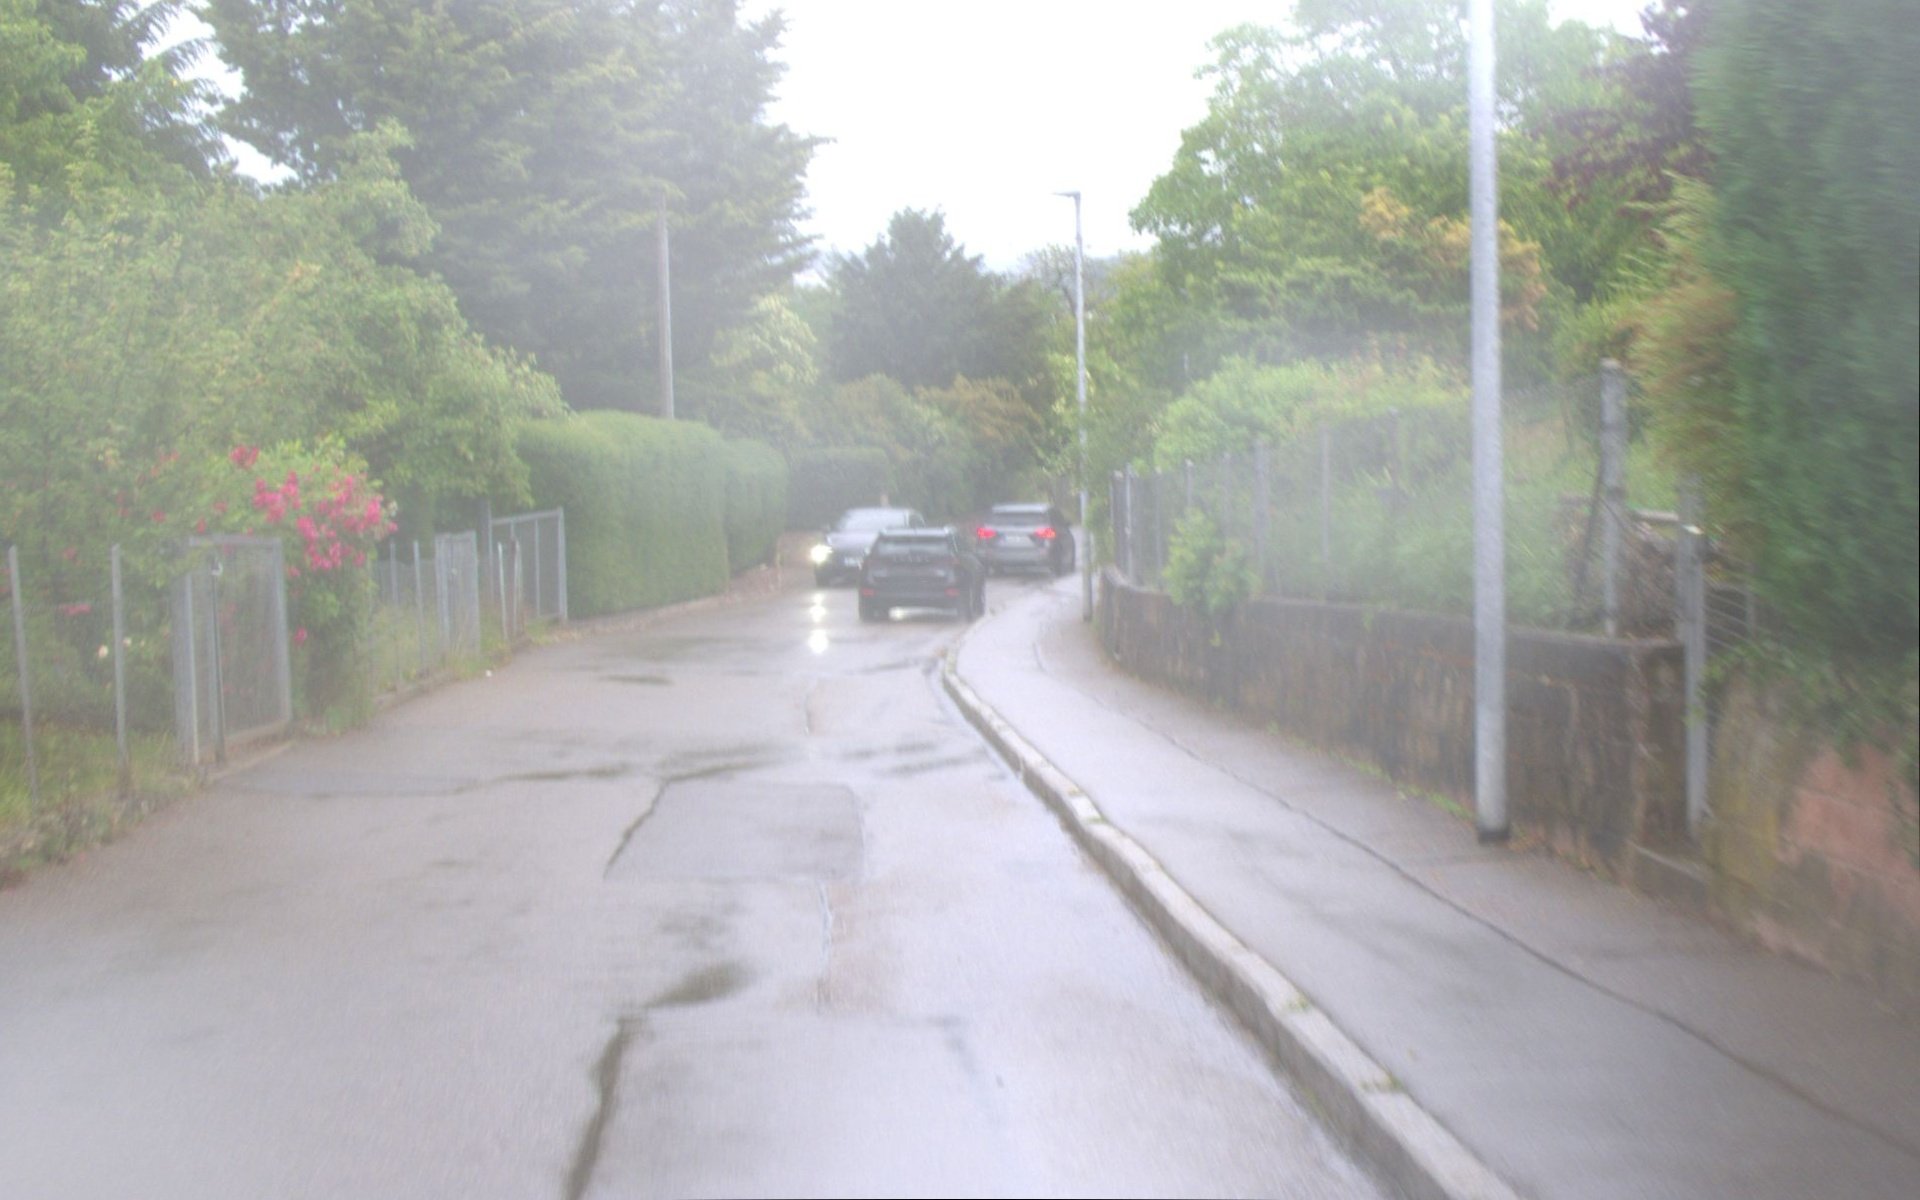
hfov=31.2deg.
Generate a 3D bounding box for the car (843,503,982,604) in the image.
[{"bbox_3d":[-0.705,-0.748,53.983,1.835,1.459,4.000,2,2,3],"label":"car"}]

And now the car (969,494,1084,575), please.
[{"bbox_3d":[1.449,-1.420,73.396,1.679,1.559,3.792,2,4,13],"label":"car"}]

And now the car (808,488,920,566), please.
[{"bbox_3d":[-1.906,-1.499,69.222,1.780,1.488,3.830,1,2,6],"label":"car"}]
